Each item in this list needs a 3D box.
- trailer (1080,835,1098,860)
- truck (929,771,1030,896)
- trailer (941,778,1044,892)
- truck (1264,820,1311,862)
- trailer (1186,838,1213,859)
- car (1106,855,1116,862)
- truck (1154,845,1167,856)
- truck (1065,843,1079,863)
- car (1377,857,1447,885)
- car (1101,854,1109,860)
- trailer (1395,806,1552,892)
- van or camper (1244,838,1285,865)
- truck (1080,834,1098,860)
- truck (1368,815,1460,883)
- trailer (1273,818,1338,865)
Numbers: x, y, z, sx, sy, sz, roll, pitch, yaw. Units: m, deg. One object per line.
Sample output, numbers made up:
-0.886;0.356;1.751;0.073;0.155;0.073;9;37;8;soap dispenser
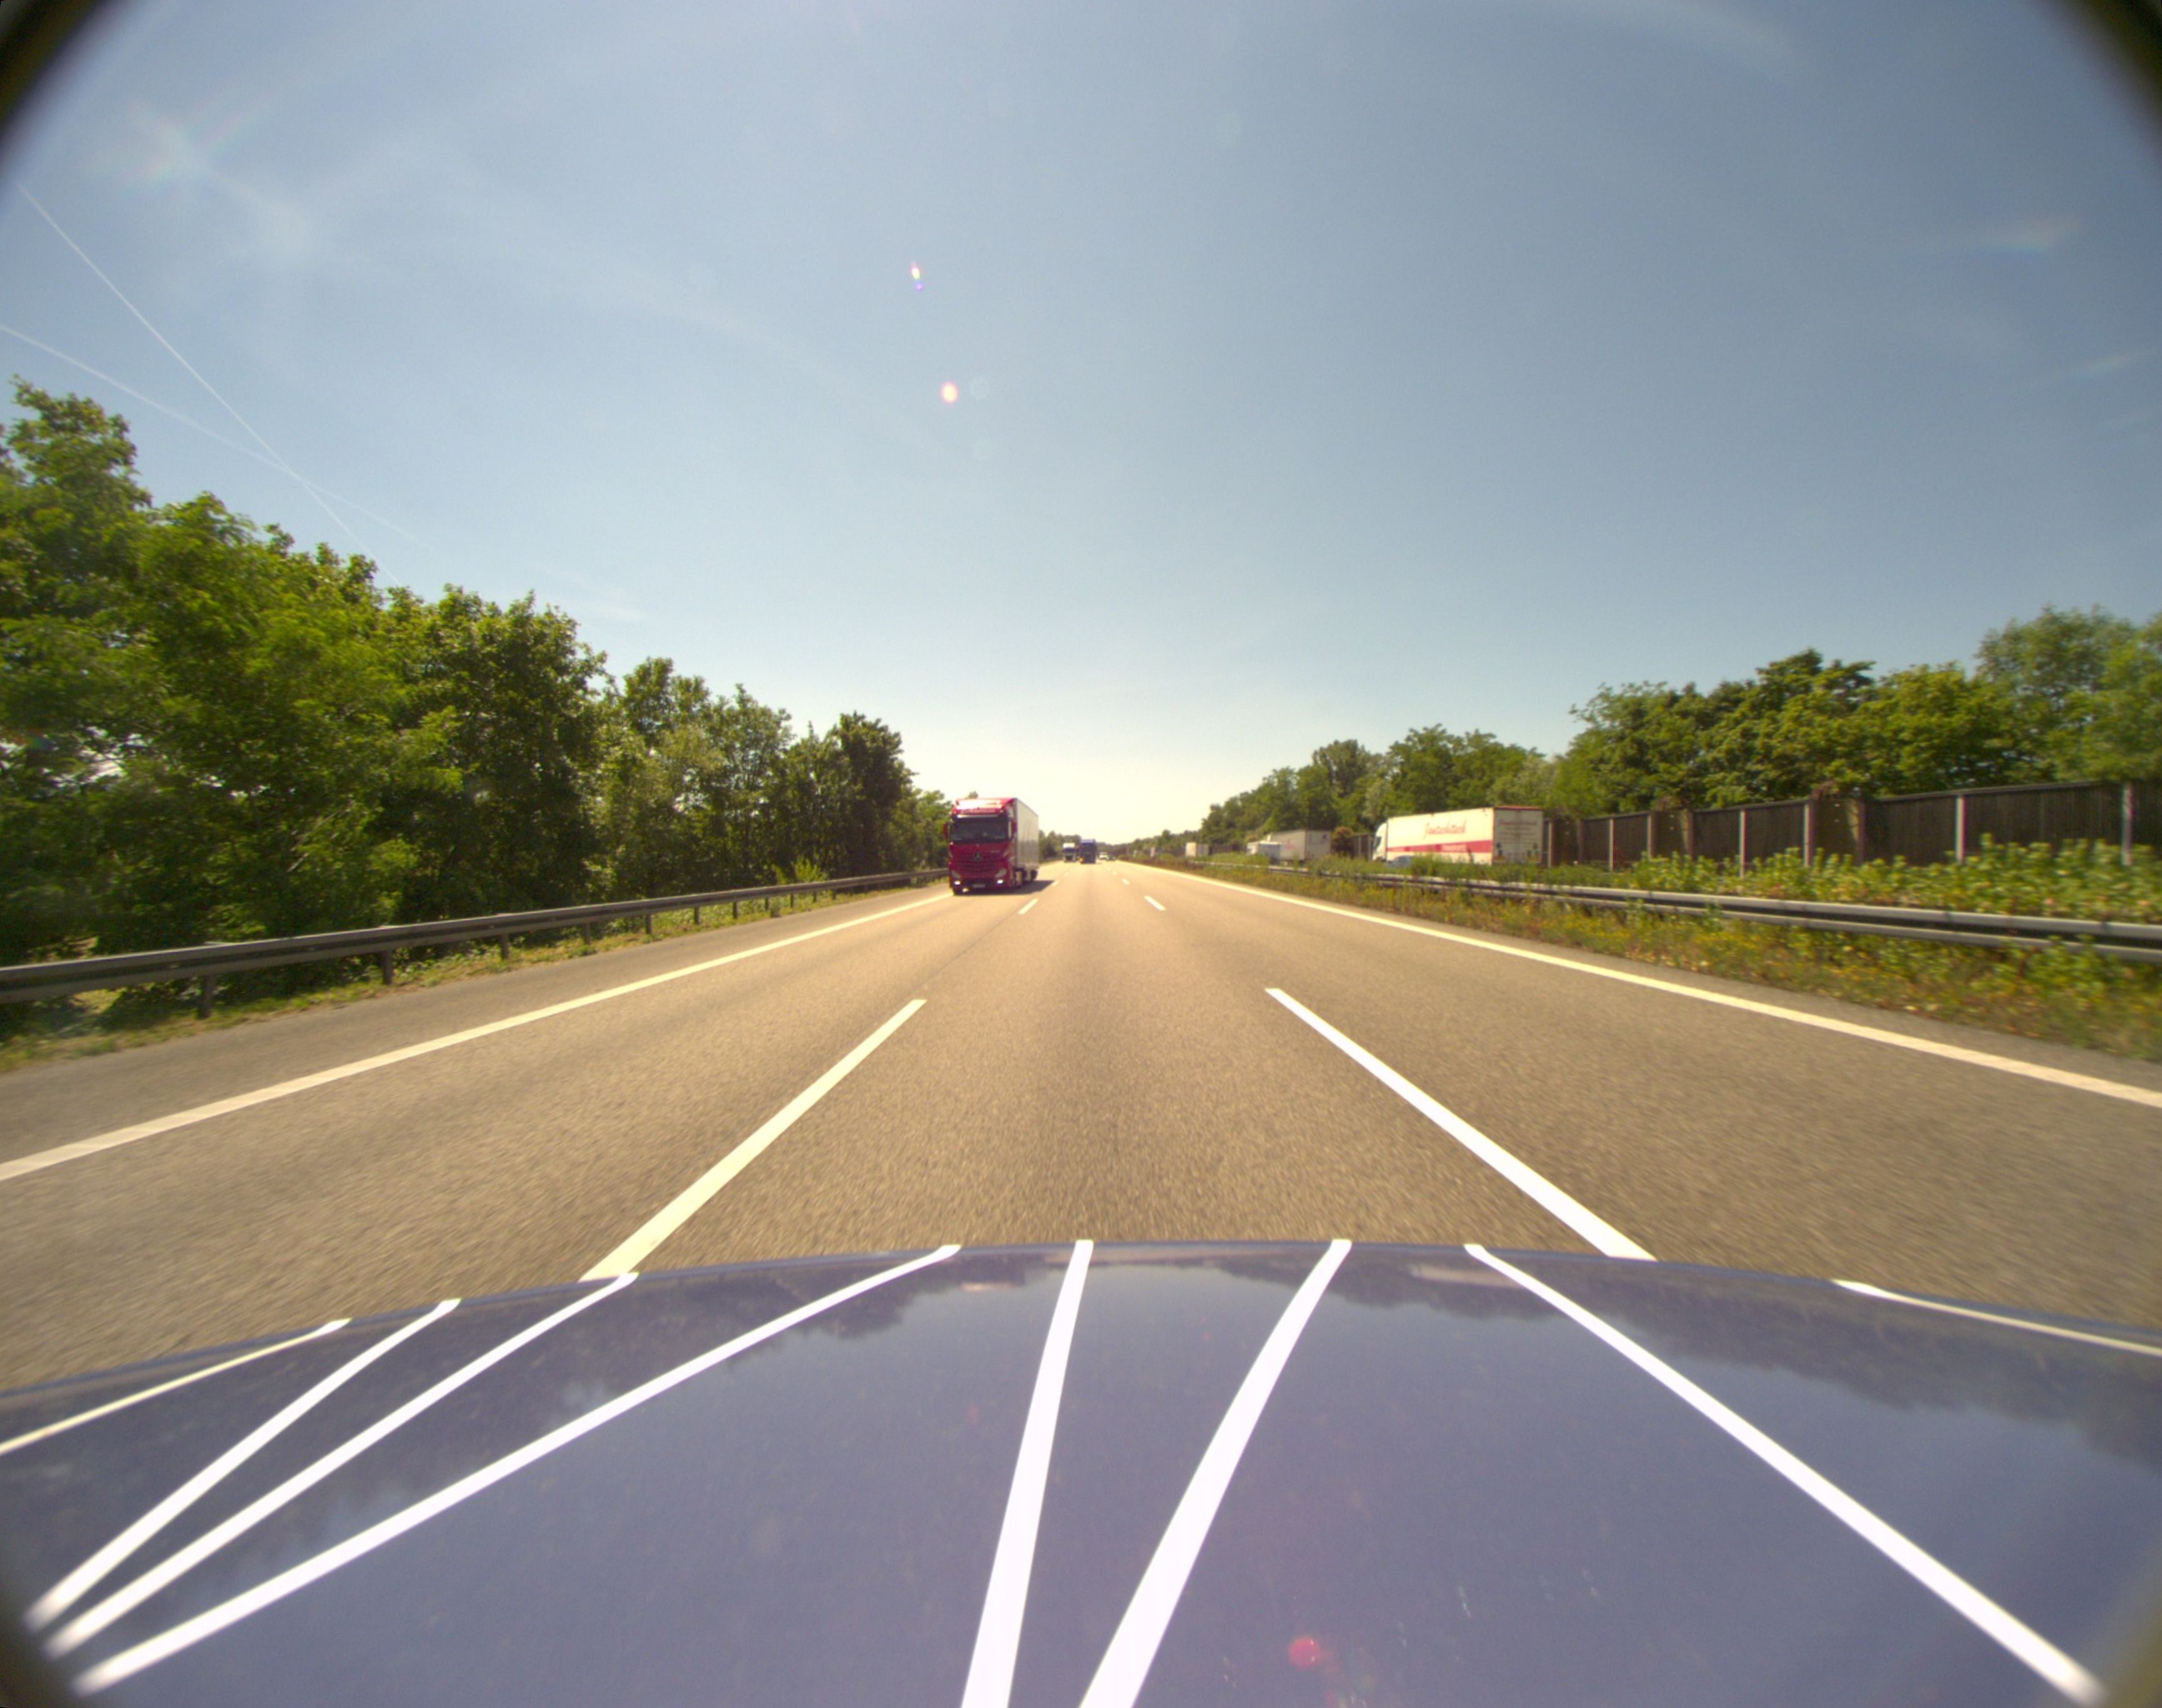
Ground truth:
1.515;-1.021;131.057;2.707;4.093;12.134;-1;-1;2;trailer
-4.250;-0.786;33.436;3.242;4.860;6.973;-1;0;1;truck
-4.136;-0.732;39.444;3.277;4.808;14.031;-1;-1;1;trailer
23.198;-1.391;85.765;3.225;4.414;7.870;-1;0;1;truck
23.814;-1.146;153.686;3.619;4.079;12.796;0;0;1;trailer
6.333;0.943;160.064;2.045;1.559;4.001;-1;-1;1;car
25.853;-1.037;248.317;2.844;3.322;17.007;-1;-1;1;truck
-1.900;-0.184;163.038;2.820;4.138;10.449;-1;-1;0;truck
17.979;0.894;41.497;1.904;1.411;4.209;-1;0;-2;car
6.297;0.880;200.239;1.855;1.559;4.001;-1;-1;1;car
21.945;-0.239;43.676;2.849;4.149;12.222;-1;0;1;trailer
18.360;-0.283;76.536;2.471;2.561;7.411;-1;0;1;van or camper
1.357;-1.080;124.106;2.707;4.093;6.991;-1;0;1;truck
22.064;-0.296;50.864;2.849;4.182;7.715;-1;0;1;truck
23.041;-1.231;78.903;3.174;4.451;12.952;-1;0;1;trailer
